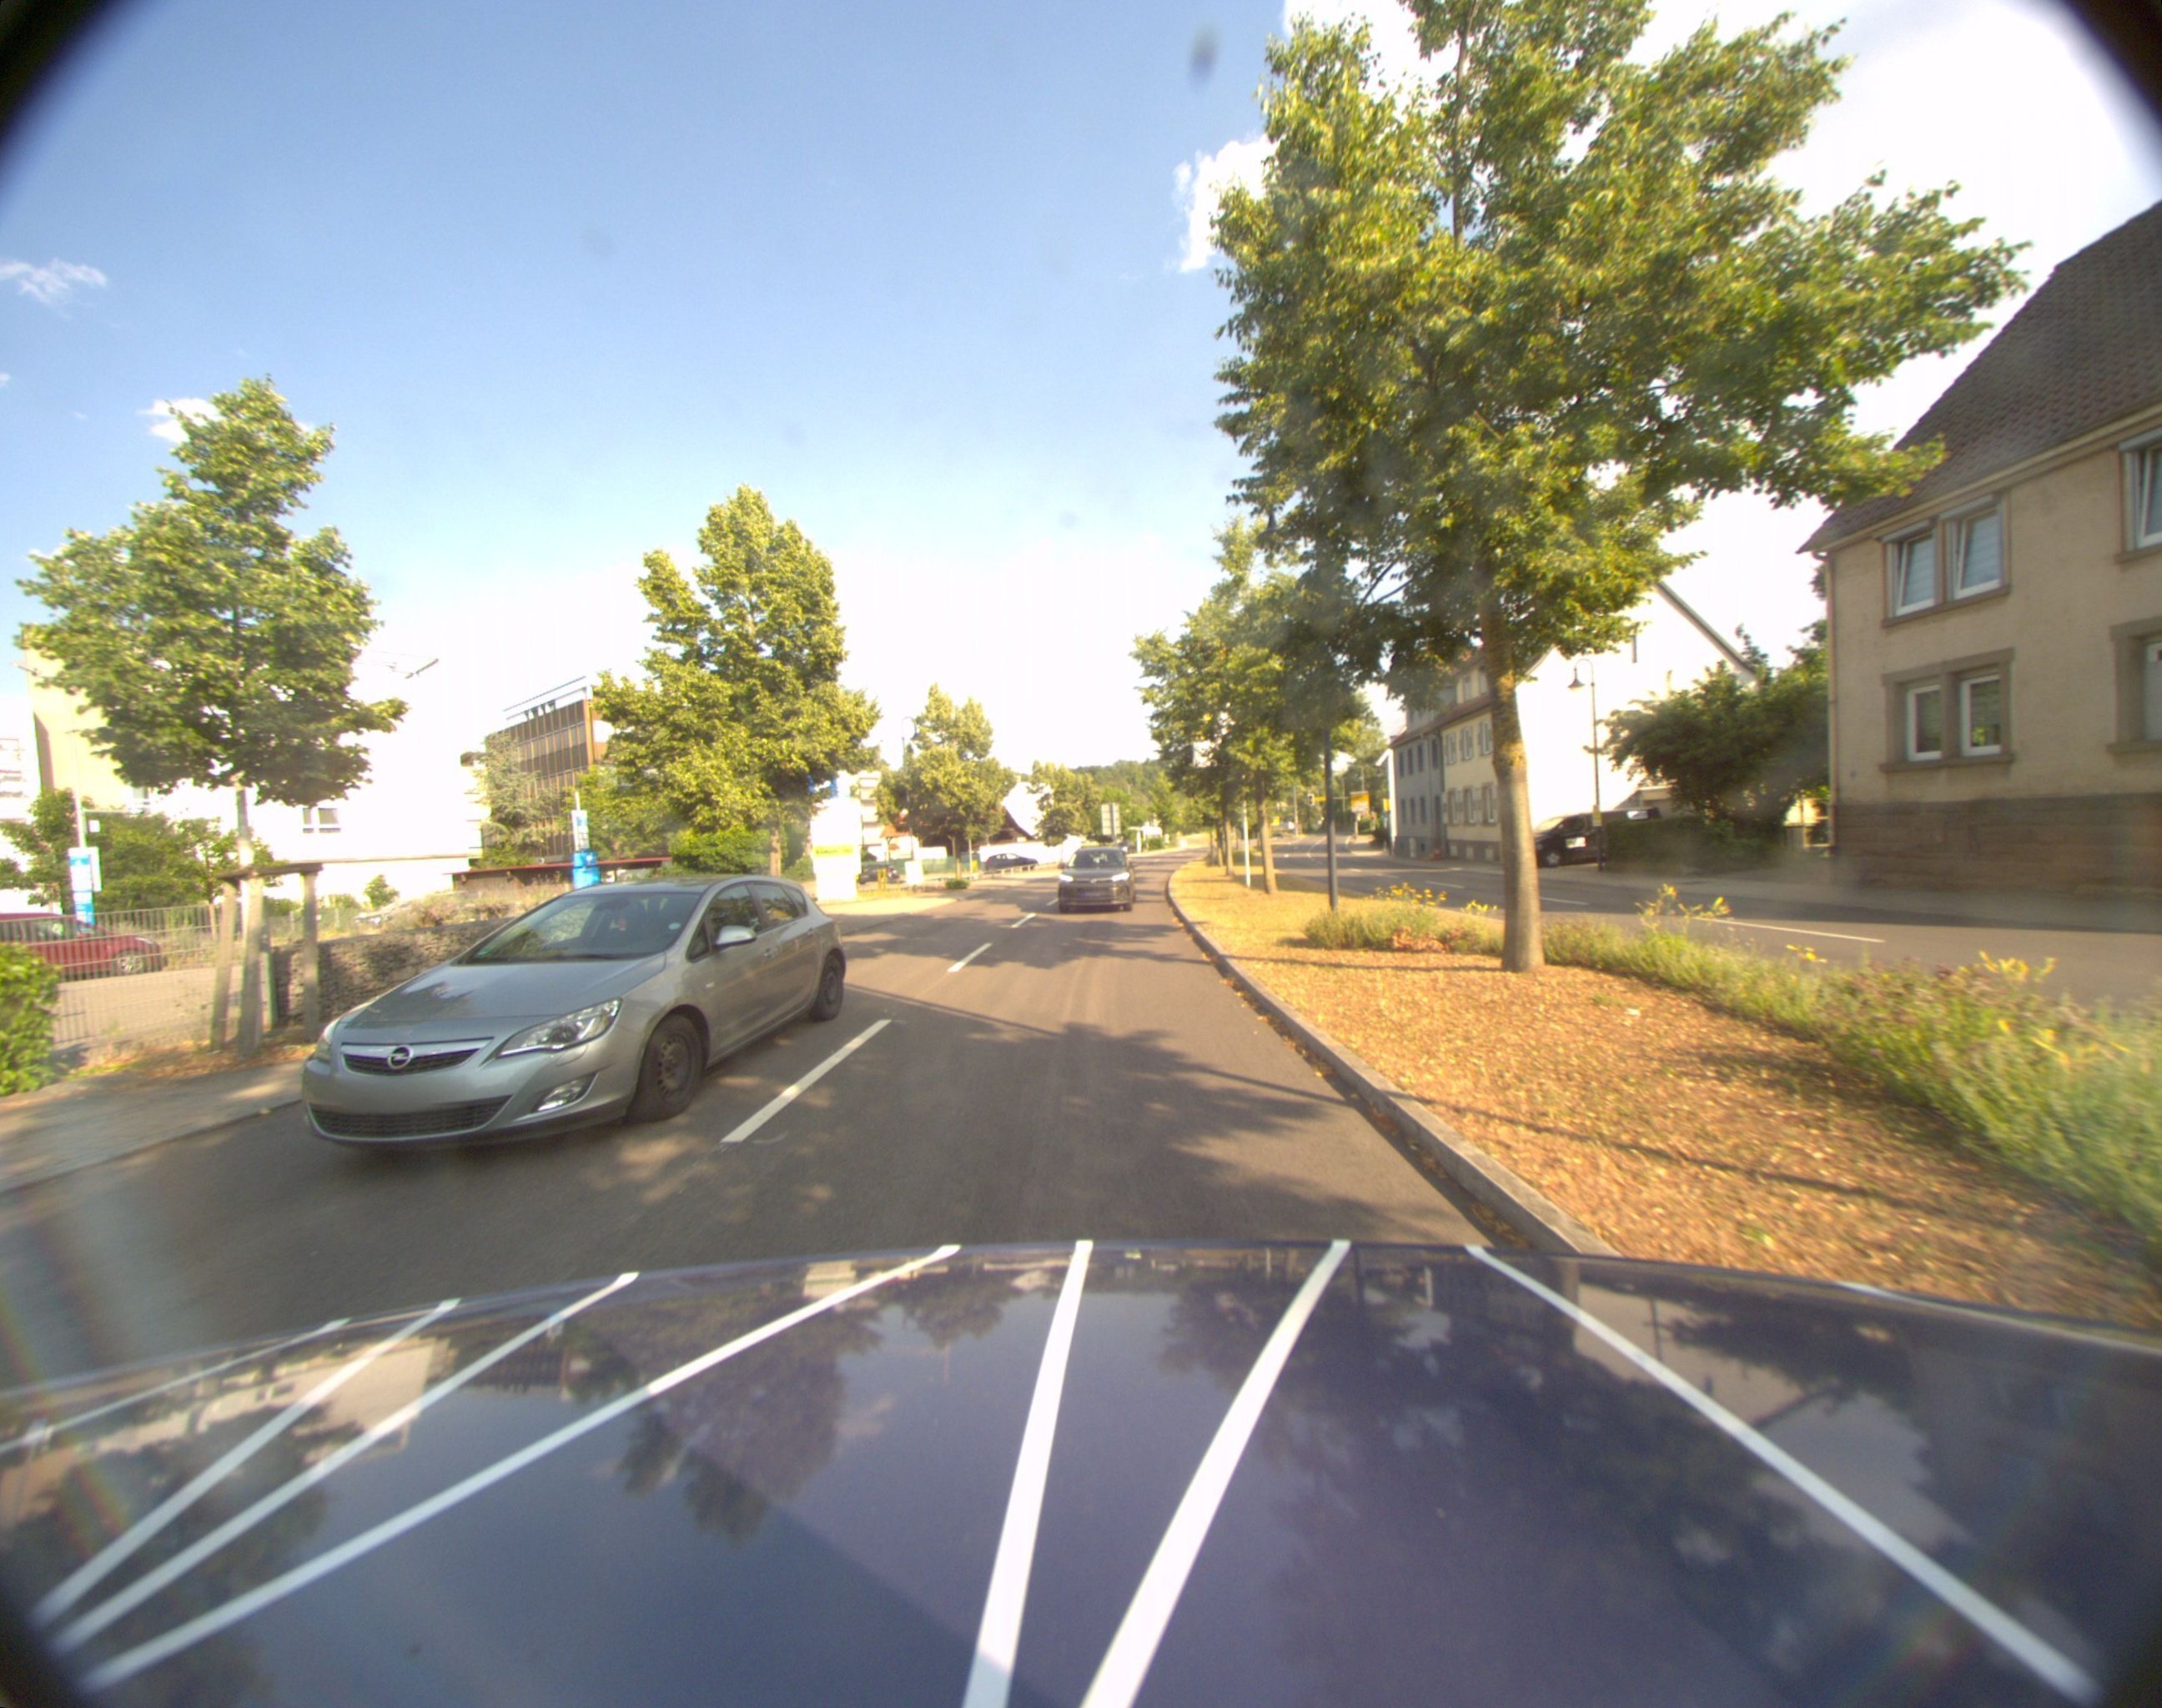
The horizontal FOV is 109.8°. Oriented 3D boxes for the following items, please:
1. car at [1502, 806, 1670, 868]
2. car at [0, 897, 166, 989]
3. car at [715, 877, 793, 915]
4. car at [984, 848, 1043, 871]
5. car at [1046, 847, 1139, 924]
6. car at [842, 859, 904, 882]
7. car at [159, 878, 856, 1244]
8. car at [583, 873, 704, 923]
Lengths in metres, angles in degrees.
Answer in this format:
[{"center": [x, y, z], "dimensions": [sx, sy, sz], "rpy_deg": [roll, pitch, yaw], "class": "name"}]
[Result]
[{"center": [18.984, -0.615, 28.804], "dimensions": [4.833, 1.866, 2.001], "rpy_deg": [-5, 1, 10], "class": "car"}, {"center": [-25.090, 2.146, 17.539], "dimensions": [1.998, 1.844, 4.648], "rpy_deg": [-4, 1, 6], "class": "car"}, {"center": [-14.678, 1.838, 34.302], "dimensions": [1.614, 1.391, 3.268], "rpy_deg": [-3, 1, 10], "class": "car"}, {"center": [-4.957, 0.423, 56.172], "dimensions": [3.832, 1.412, 1.939], "rpy_deg": [-3, 1, 11], "class": "car"}, {"center": [0.400, 0.688, 18.963], "dimensions": [1.724, 1.605, 4.263], "rpy_deg": [-2, 1, 8], "class": "car"}, {"center": [-15.630, 1.228, 57.124], "dimensions": [3.994, 1.412, 1.939], "rpy_deg": [-3, 1, 11], "class": "car"}, {"center": [-3.256, 1.017, 5.611], "dimensions": [1.725, 1.481, 4.307], "rpy_deg": [-2, 0, 2], "class": "car"}, {"center": [-16.197, 1.586, 28.360], "dimensions": [1.656, 1.454, 3.868], "rpy_deg": [-3, 1, 12], "class": "car"}]
